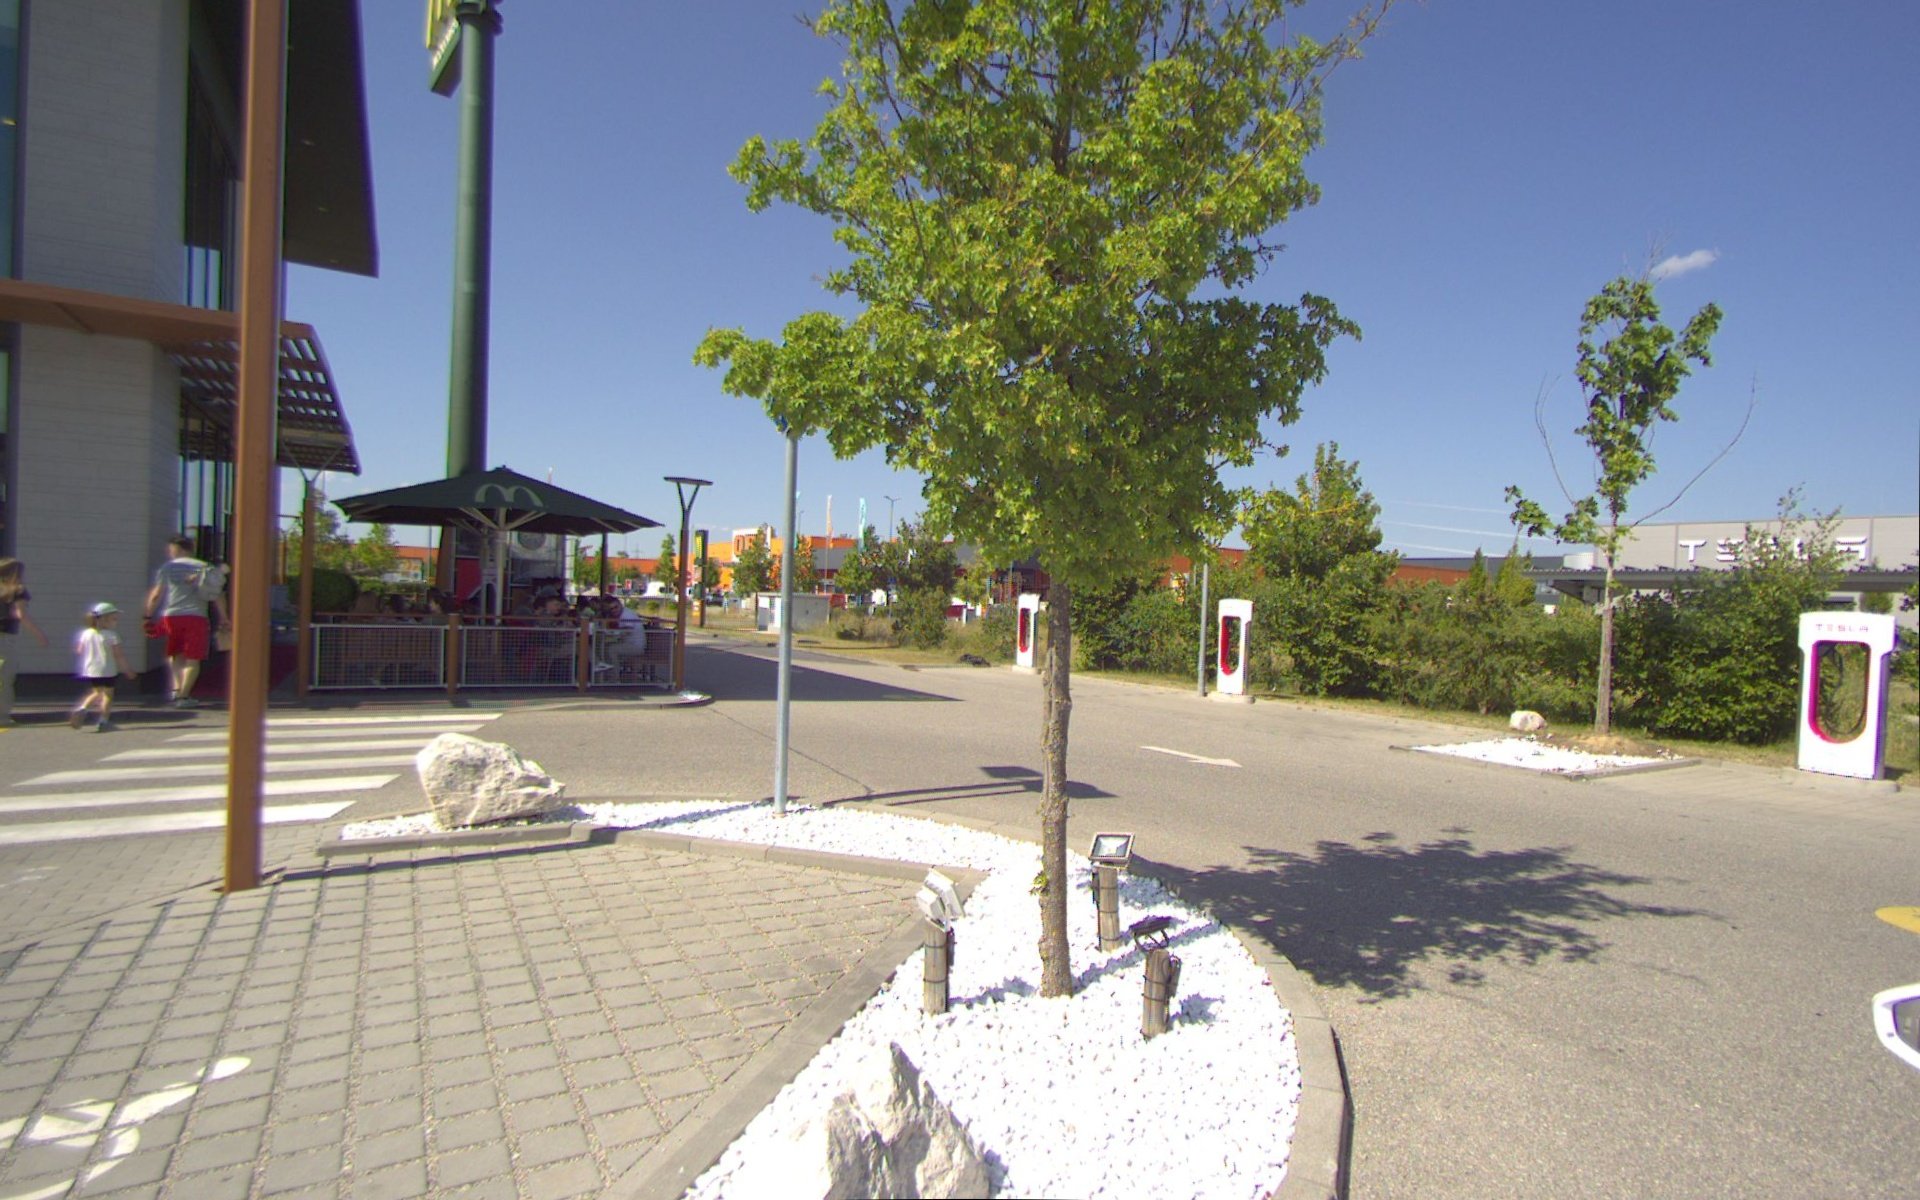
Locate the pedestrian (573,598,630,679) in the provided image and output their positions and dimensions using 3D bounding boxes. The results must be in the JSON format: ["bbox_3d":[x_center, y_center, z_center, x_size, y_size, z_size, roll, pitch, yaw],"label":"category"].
[{"bbox_3d":[-5.798,0.613,16.250,0.722,1.274,0.568,2,0,-35],"label":"pedestrian"}]

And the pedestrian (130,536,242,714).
[{"bbox_3d":[-8.242,0.255,10.713,0.889,1.792,0.794,2,0,-39],"label":"pedestrian"}]

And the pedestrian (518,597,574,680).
[{"bbox_3d":[-6.524,0.596,15.830,0.708,1.274,0.519,2,0,-34],"label":"pedestrian"}]

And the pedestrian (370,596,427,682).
[{"bbox_3d":[-7.681,0.527,13.741,0.628,1.139,0.519,2,0,-34],"label":"pedestrian"}]

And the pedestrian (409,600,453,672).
[{"bbox_3d":[-8.449,0.570,16.048,0.567,1.115,0.651,2,0,-31],"label":"pedestrian"}]

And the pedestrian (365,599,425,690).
[{"bbox_3d":[-7.350,0.572,13.065,0.628,1.139,0.519,2,0,-34],"label":"pedestrian"}]

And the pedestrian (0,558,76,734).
[{"bbox_3d":[-8.982,0.411,9.459,0.730,1.605,0.725,2,0,-20],"label":"pedestrian"}]

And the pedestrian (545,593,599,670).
[{"bbox_3d":[-6.617,0.534,17.140,0.722,1.274,0.568,2,0,-35],"label":"pedestrian"}]

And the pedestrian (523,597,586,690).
[{"bbox_3d":[-5.733,0.604,14.198,0.708,1.274,0.519,2,0,-34],"label":"pedestrian"}]

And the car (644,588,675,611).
[{"bbox_3d":[-28.981,-0.059,96.859,1.977,2.040,3.968,3,-1,-30],"label":"car"}]

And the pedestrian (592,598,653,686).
[{"bbox_3d":[-5.069,0.625,15.079,0.722,1.274,0.568,2,0,-35],"label":"pedestrian"}]

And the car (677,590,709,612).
[{"bbox_3d":[-26.308,0.087,98.899,1.977,2.040,3.968,3,-1,-30],"label":"car"}]

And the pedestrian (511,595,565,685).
[{"bbox_3d":[-6.226,0.581,14.811,0.628,1.274,0.519,2,0,-34],"label":"pedestrian"}]

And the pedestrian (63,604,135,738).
[{"bbox_3d":[-8.077,0.652,9.433,0.444,1.202,0.486,2,0,-36],"label":"pedestrian"}]
